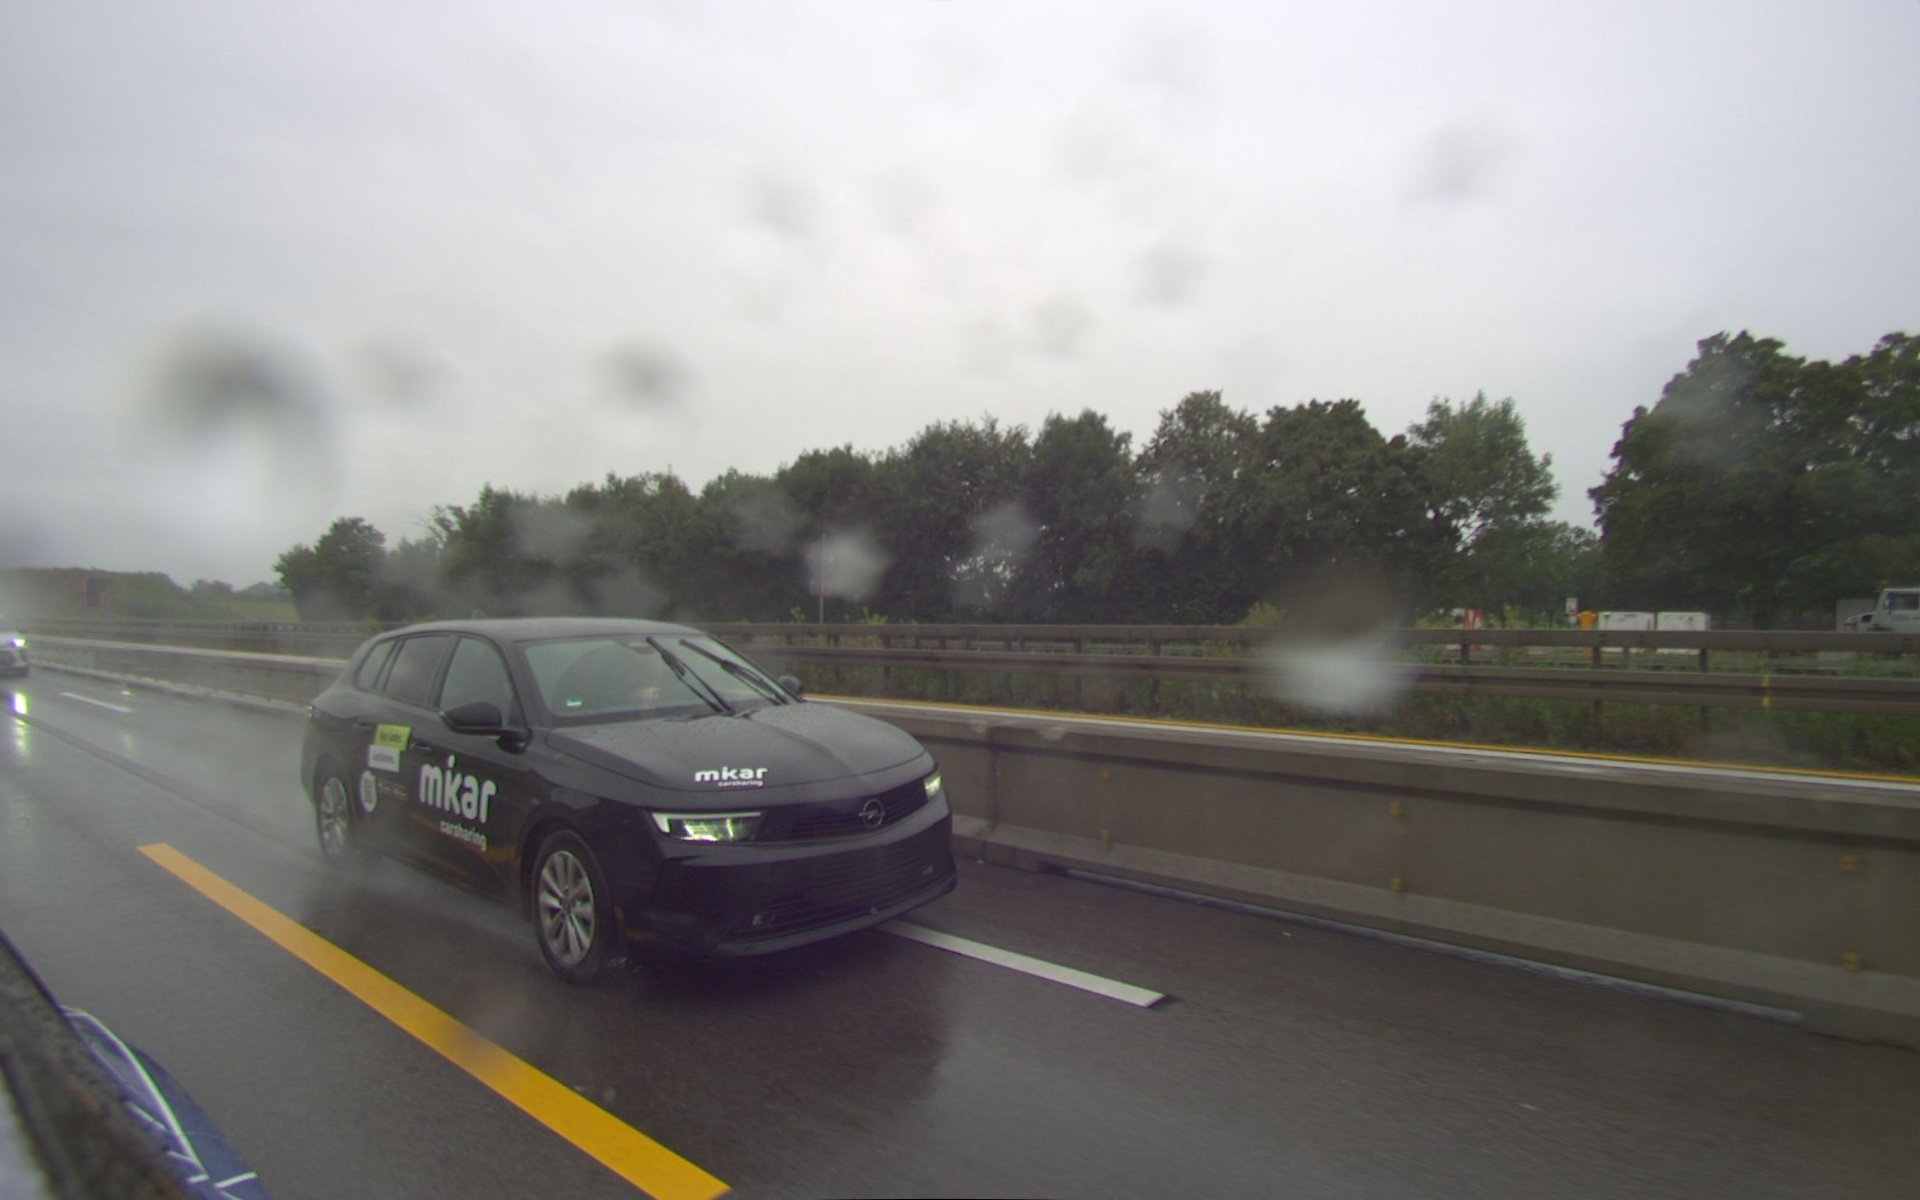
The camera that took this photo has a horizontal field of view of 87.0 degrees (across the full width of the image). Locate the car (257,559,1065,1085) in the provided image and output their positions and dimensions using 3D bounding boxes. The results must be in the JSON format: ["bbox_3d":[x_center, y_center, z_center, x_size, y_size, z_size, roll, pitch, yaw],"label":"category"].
[{"bbox_3d":[-1.945,0.691,5.317,4.796,1.539,1.918,-1,-1,43],"label":"car"}]

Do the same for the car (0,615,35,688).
[{"bbox_3d":[-25.073,1.281,25.543,3.995,1.693,1.948,1,0,38],"label":"car"}]

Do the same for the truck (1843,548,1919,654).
[{"bbox_3d":[30.910,0.047,30.892,5.870,3.237,2.584,1,0,44],"label":"truck"}]
